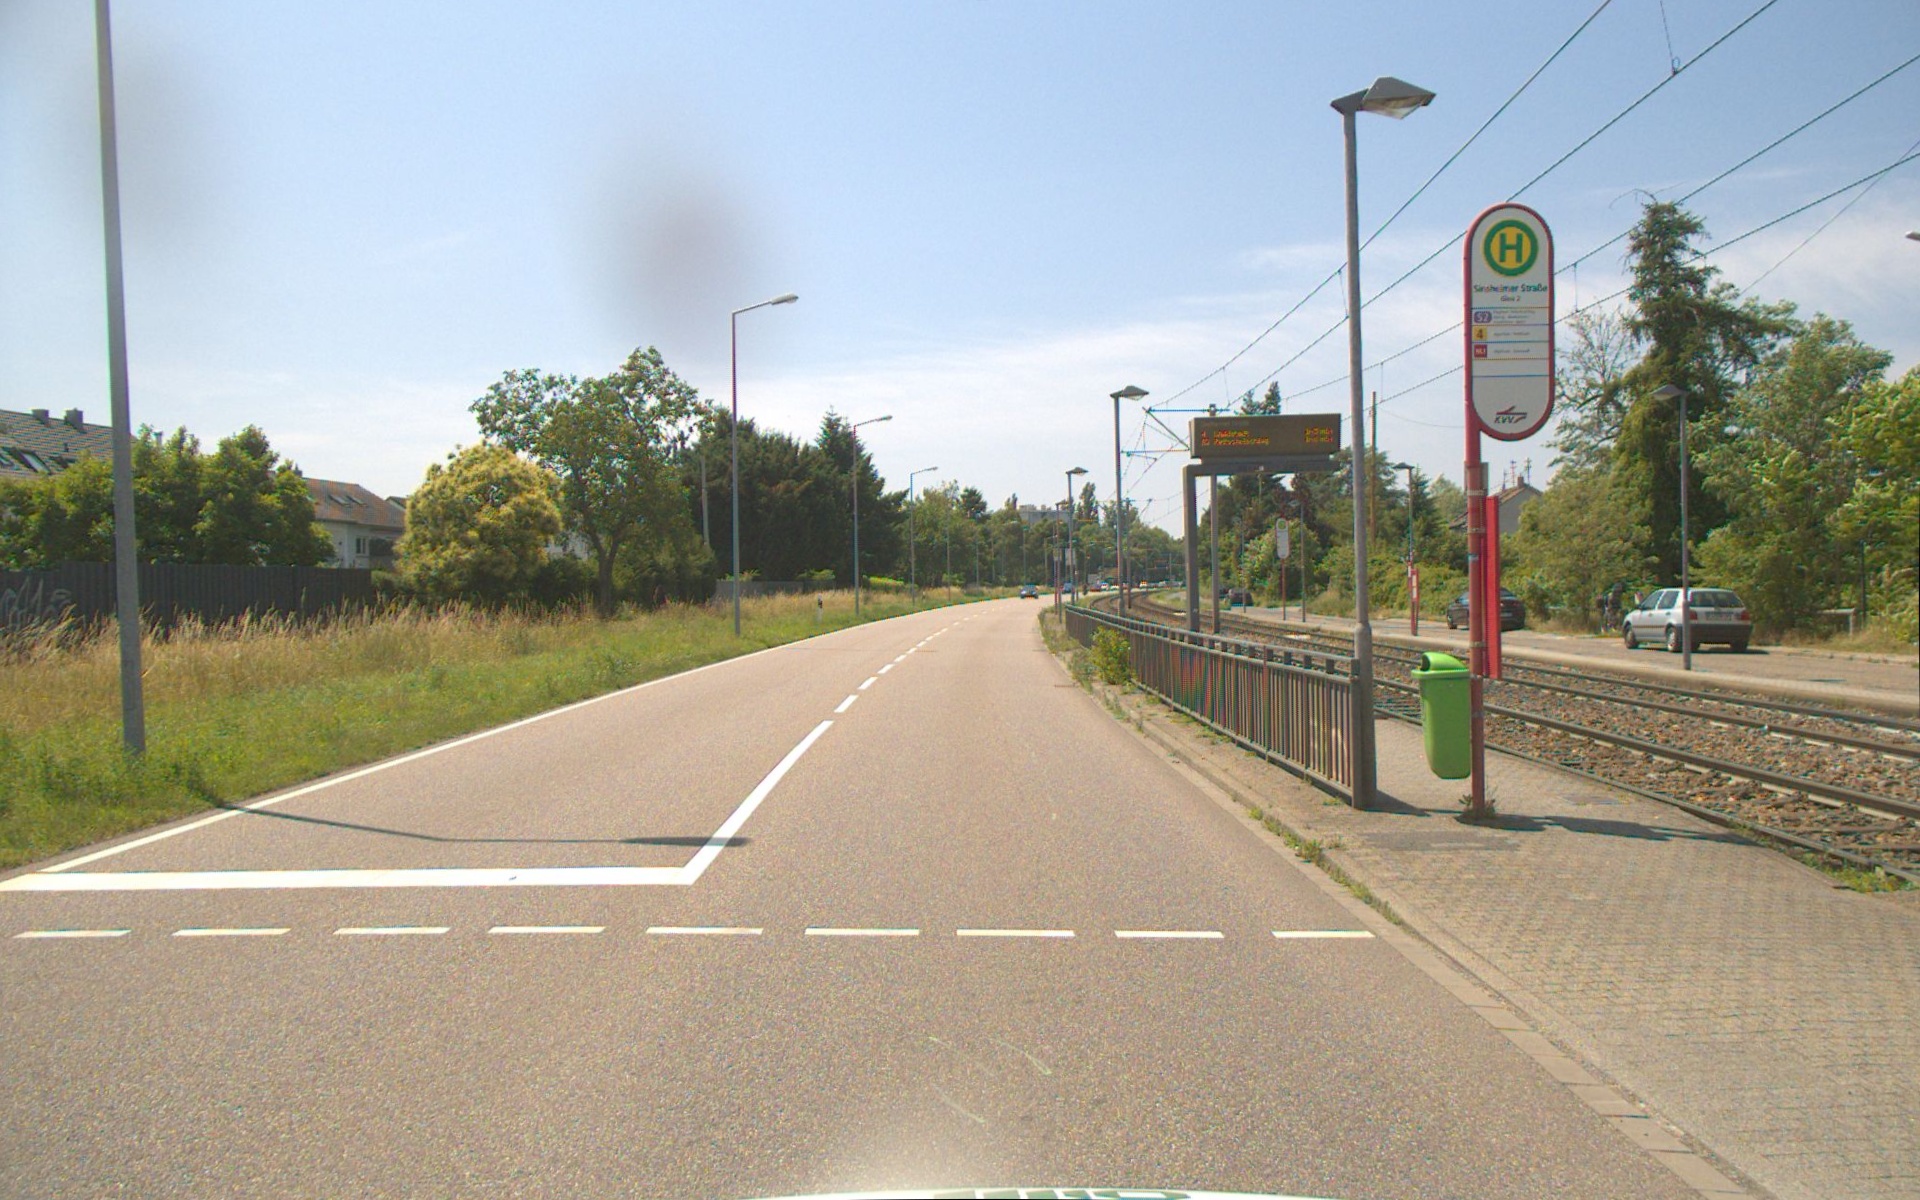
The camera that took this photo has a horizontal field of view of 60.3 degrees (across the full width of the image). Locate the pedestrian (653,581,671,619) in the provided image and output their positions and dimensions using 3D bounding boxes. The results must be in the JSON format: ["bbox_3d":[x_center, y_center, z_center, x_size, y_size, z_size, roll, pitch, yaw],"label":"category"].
[{"bbox_3d":[-11.978,-0.002,66.491,0.596,1.503,0.634,0,0,3],"label":"pedestrian"}]

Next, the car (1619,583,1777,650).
[{"bbox_3d":[16.713,0.352,37.676,1.899,1.447,4.001,0,0,1],"label":"car"}]

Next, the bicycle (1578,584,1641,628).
[{"bbox_3d":[19.668,0.180,50.100,0.695,1.291,1.661,-1,0,-33],"label":"bicycle"}]

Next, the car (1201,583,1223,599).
[{"bbox_3d":[24.335,-0.879,159.567,1.873,1.496,4.003,0,0,5],"label":"car"}]

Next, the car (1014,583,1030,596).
[{"bbox_3d":[6.874,-1.130,182.928,1.670,1.429,4.710,0,0,4],"label":"car"}]

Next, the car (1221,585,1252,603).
[{"bbox_3d":[21.140,-0.494,126.553,1.822,1.353,4.517,0,0,3],"label":"car"}]

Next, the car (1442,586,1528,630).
[{"bbox_3d":[17.861,0.243,56.465,1.586,1.447,4.874,0,0,2],"label":"car"}]
